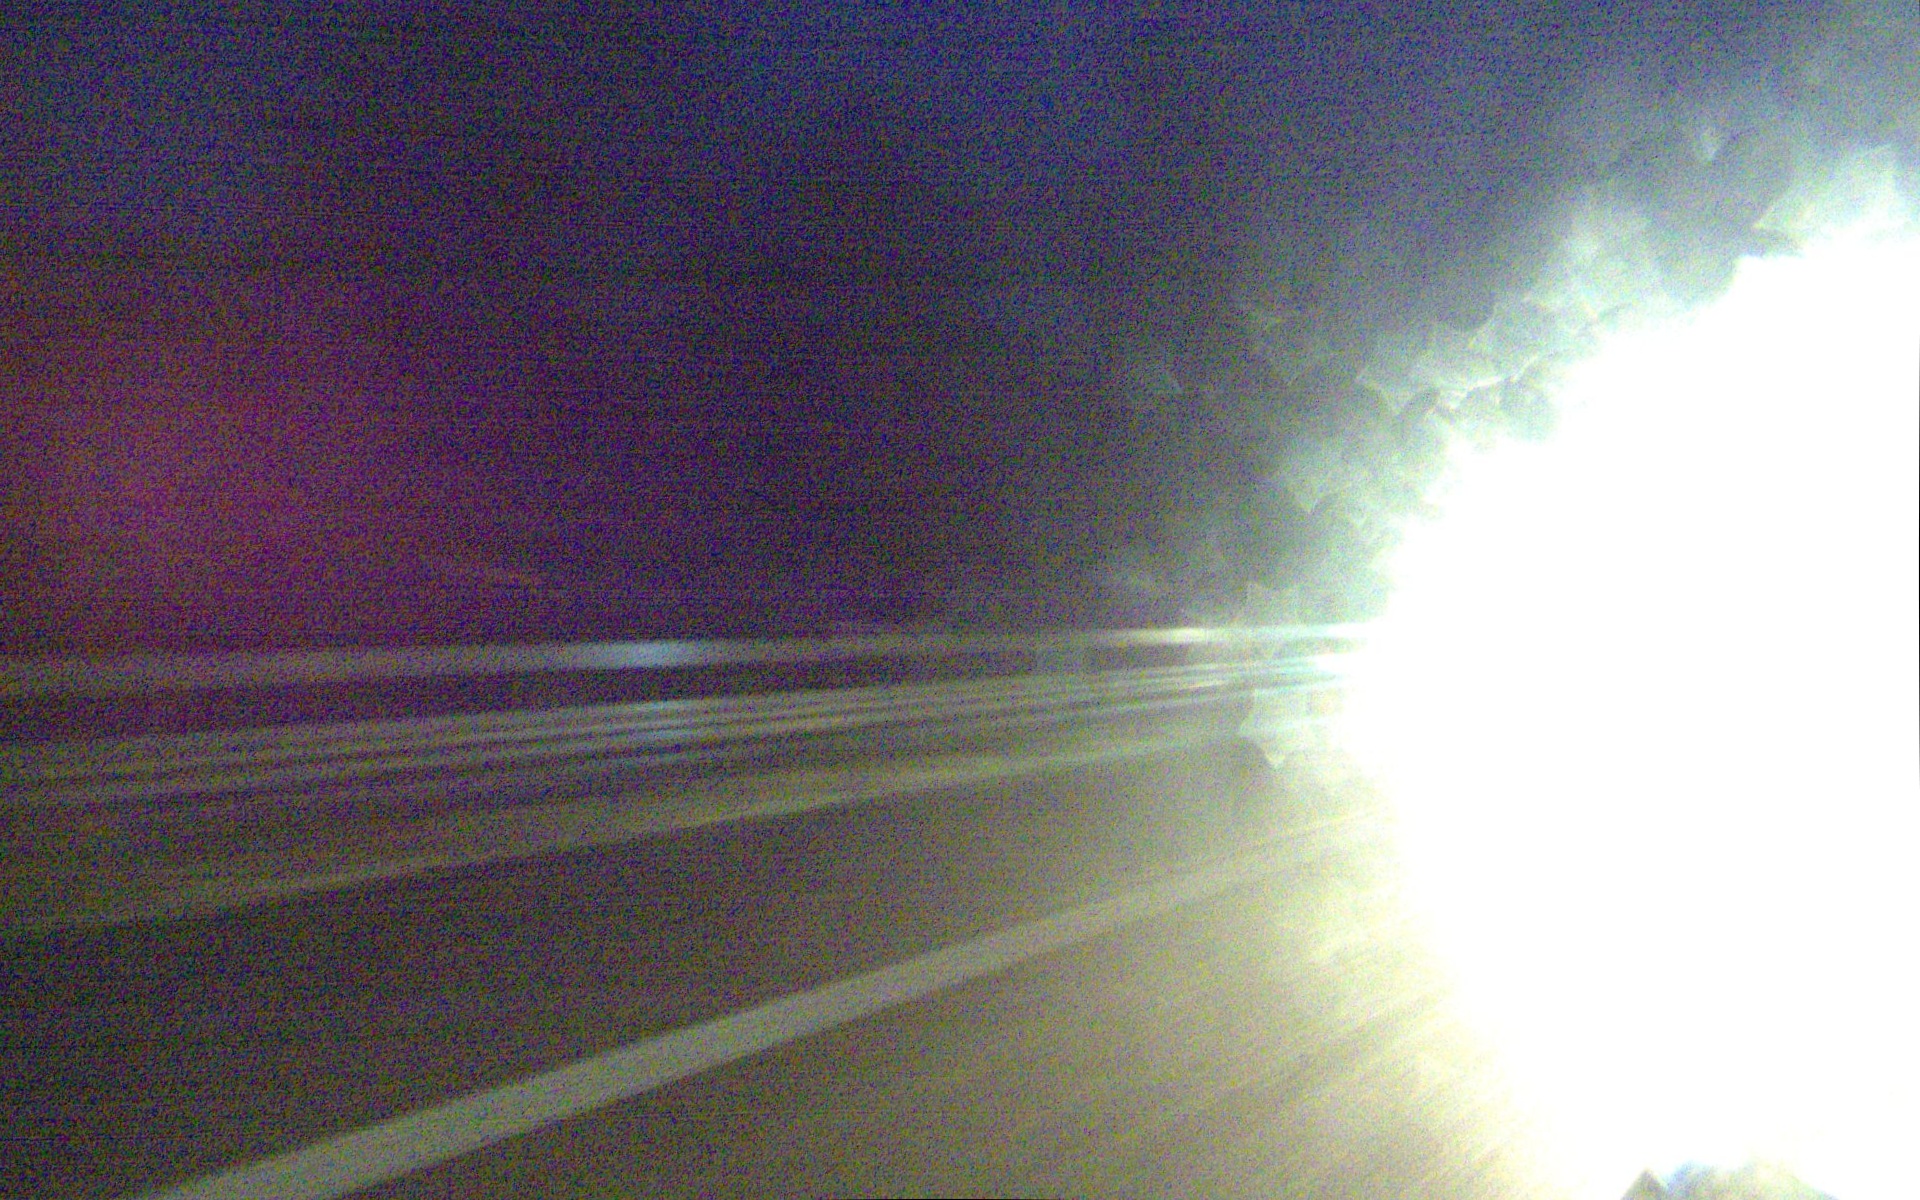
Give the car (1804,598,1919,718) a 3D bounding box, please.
[{"bbox_3d":[13.191,0.721,13.965,4.122,1.476,1.772,0,0,-41],"label":"car"}]
